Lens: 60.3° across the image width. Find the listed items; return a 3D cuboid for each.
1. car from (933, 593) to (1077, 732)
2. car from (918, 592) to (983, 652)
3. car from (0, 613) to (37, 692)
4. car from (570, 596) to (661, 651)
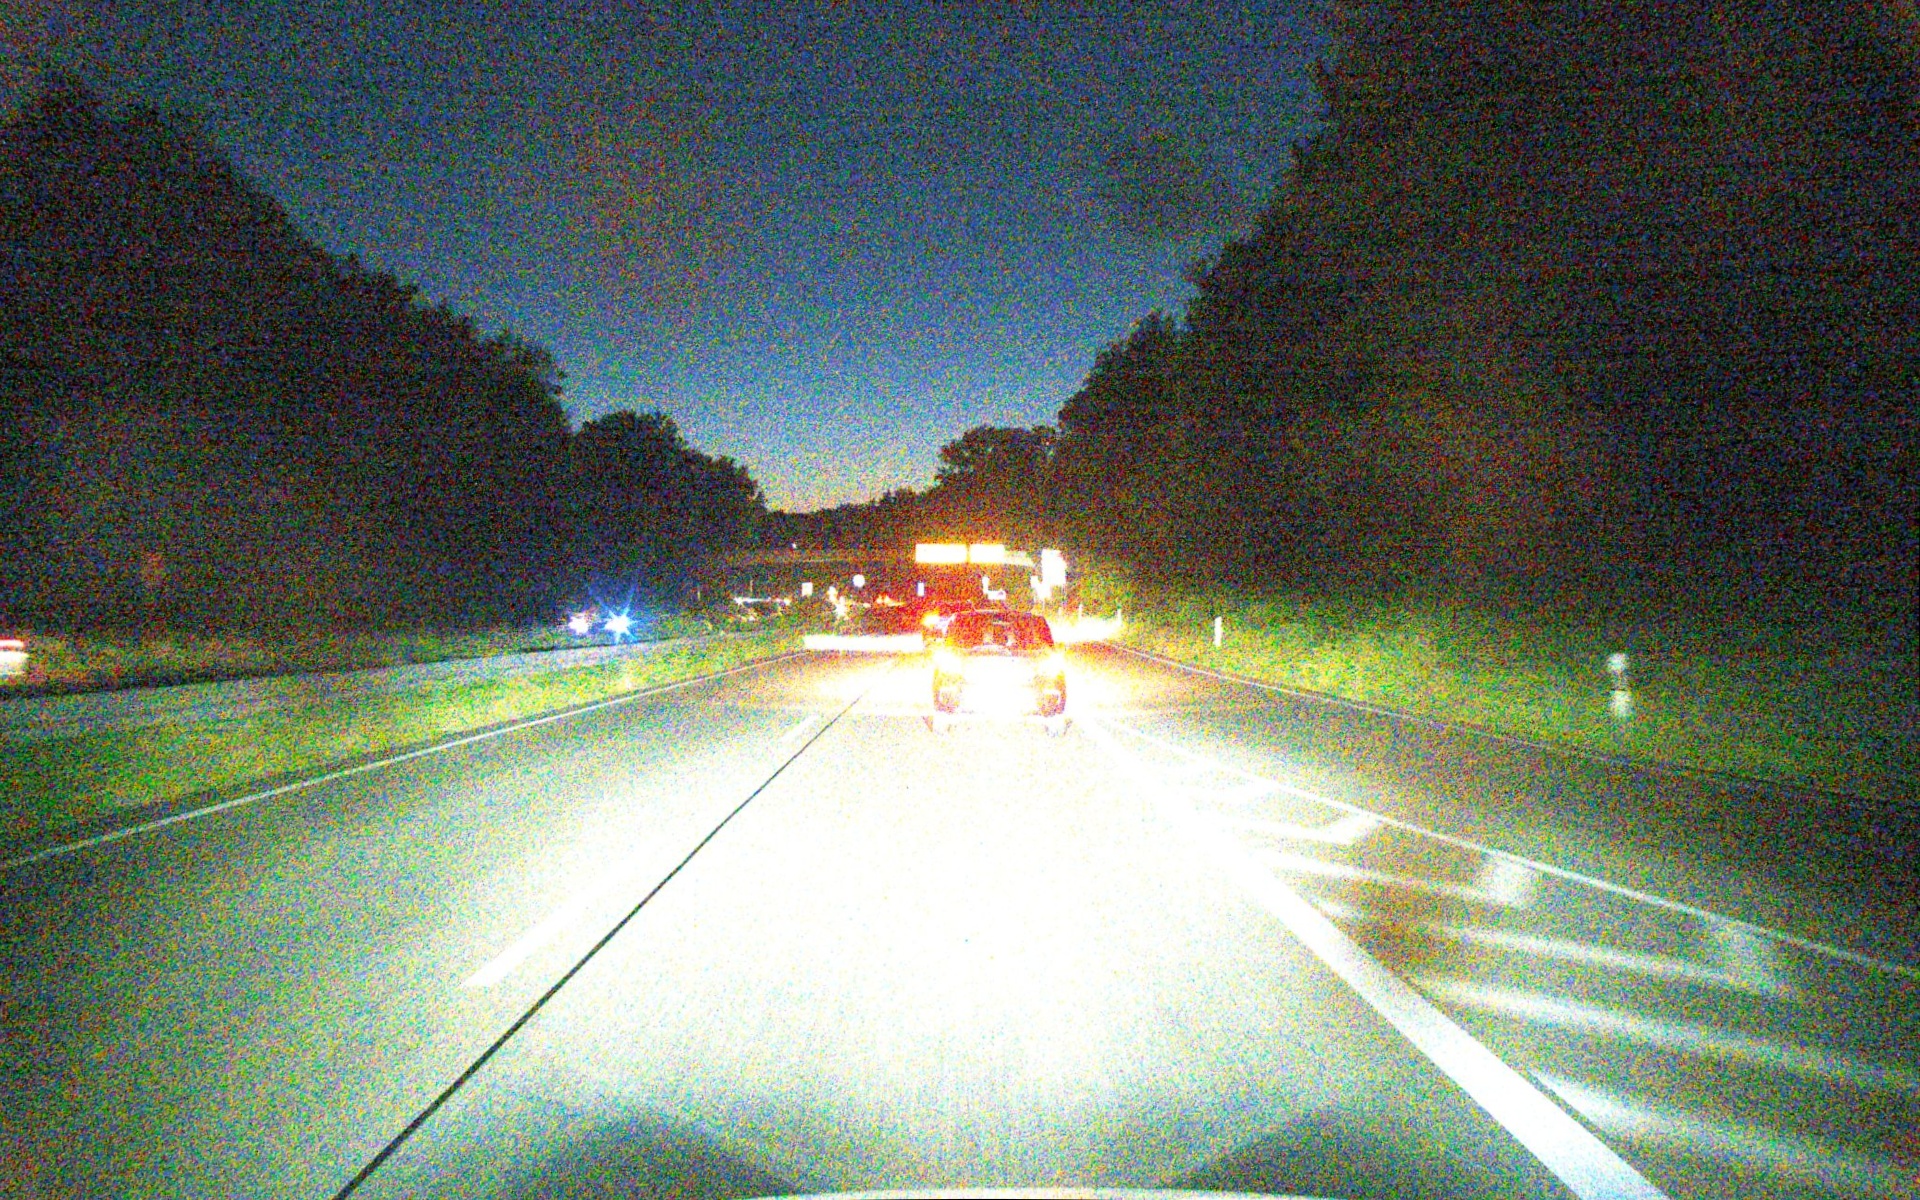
[{"bbox_3d":[0.483,0.714,20.837,1.556,1.534,3.999,2,0,-1],"label":"car"},{"bbox_3d":[-0.288,0.645,50.453,1.867,1.728,4.000,1,0,0],"label":"car"},{"bbox_3d":[-18.409,0.937,29.014,1.735,1.436,4.843,1,0,-1],"label":"car"},{"bbox_3d":[-11.747,0.763,56.690,1.917,1.764,5.080,-1,0,2],"label":"car"}]
